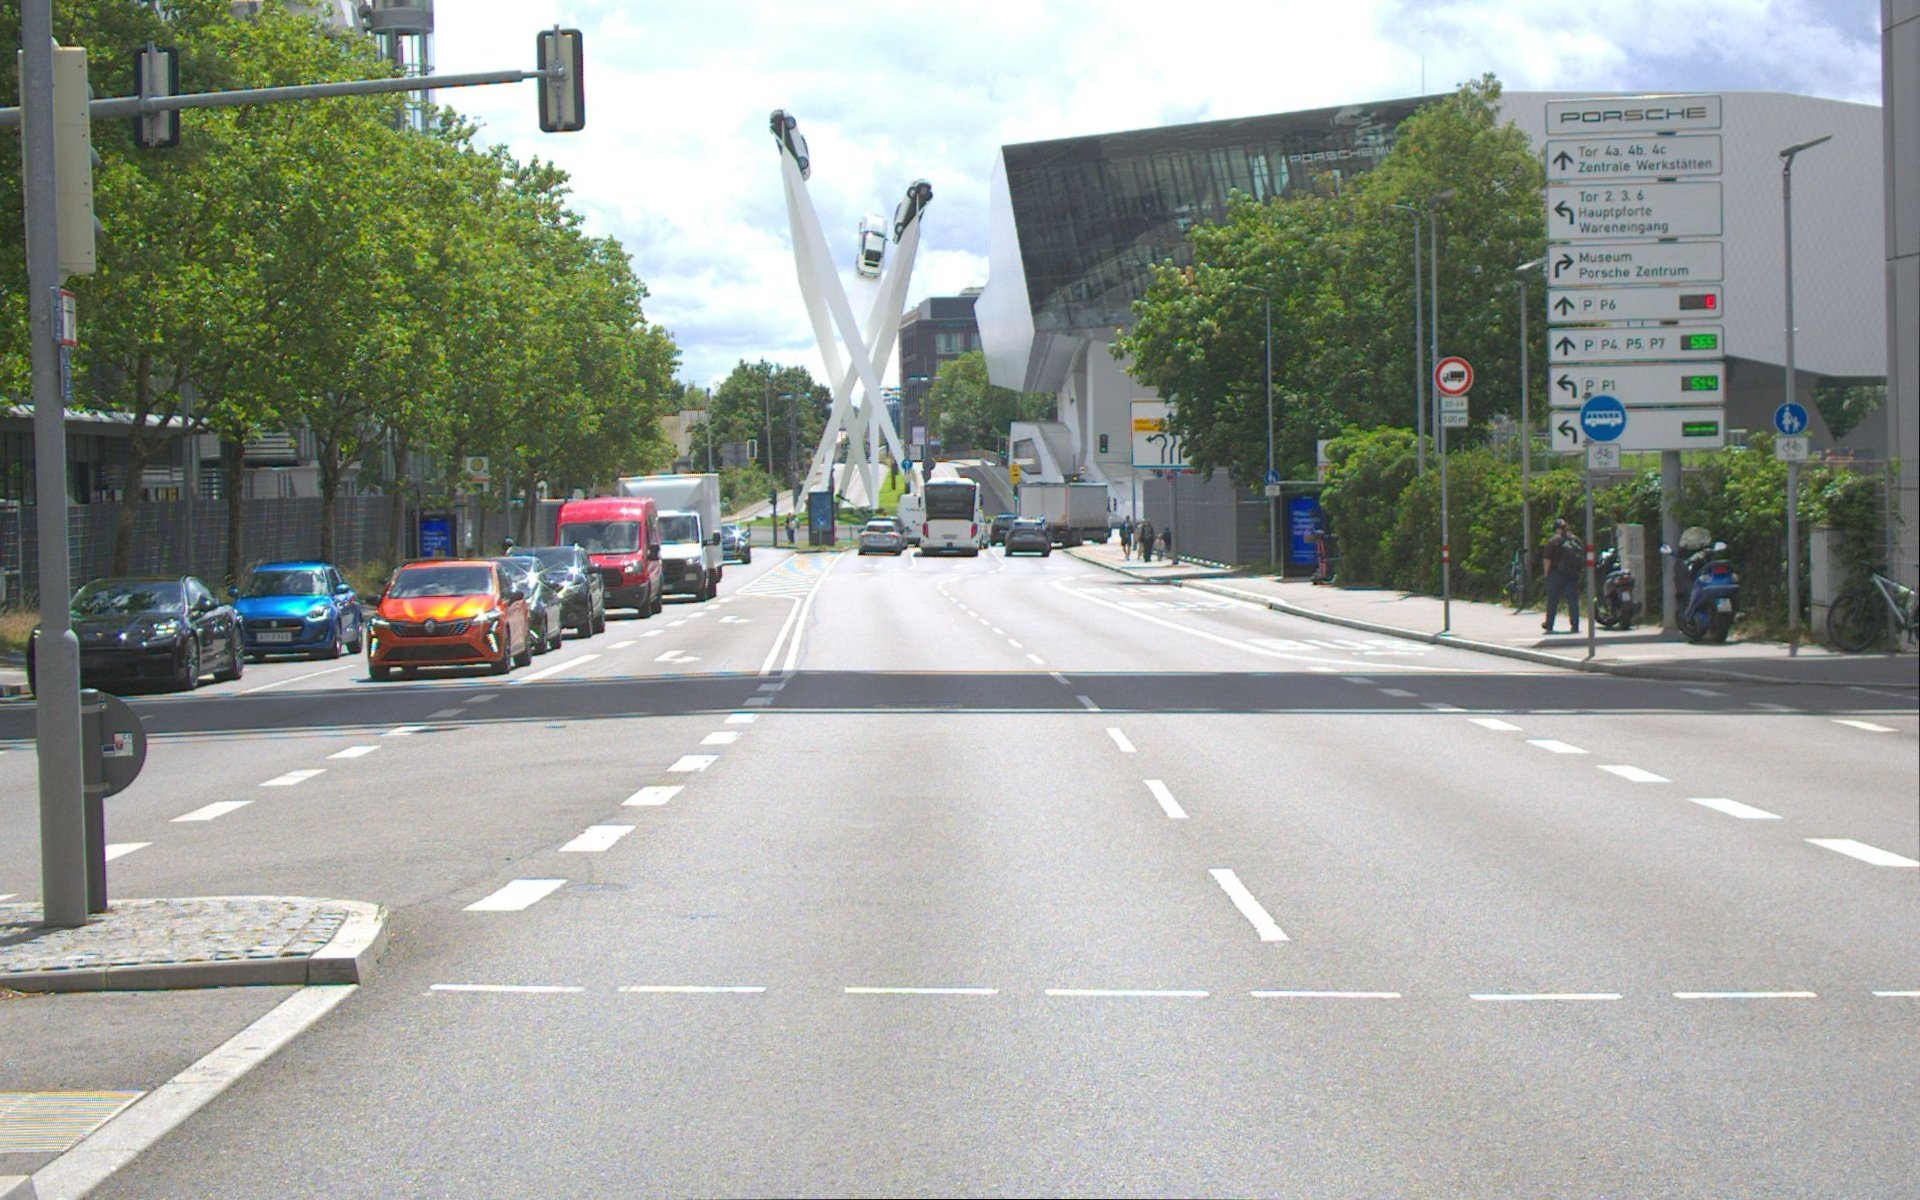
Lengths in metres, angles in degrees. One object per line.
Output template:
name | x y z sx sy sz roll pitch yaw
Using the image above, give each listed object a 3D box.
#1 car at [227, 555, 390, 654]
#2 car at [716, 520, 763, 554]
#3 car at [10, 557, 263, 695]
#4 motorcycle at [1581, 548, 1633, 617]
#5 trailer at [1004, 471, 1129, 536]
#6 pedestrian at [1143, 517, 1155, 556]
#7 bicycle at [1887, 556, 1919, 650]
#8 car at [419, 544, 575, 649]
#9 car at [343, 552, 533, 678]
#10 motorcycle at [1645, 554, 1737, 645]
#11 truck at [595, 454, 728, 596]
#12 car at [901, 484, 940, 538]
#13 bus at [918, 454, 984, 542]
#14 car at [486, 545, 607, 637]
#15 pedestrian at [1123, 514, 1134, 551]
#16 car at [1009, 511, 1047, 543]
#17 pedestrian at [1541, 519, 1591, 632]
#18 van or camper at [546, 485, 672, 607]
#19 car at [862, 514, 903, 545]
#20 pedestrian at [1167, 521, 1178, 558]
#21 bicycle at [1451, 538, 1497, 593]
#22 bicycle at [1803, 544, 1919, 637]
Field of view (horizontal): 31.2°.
car | -10.010 0.043 53.044 1.727 1.378 3.701 -3 1 0
car | -8.699 -2.505 135.988 1.557 1.269 3.701 -3 1 0
car | -10.136 0.273 42.673 1.917 1.483 4.772 -3 1 0
motorcycle | 9.770 -0.270 51.967 0.457 1.019 1.912 1 0 1
trailer | 5.408 -4.808 172.356 3.322 2.984 10.366 1 1 19
pedestrian | 7.007 -2.342 127.330 0.386 1.416 0.423 1 0 0
bicycle | 11.800 0.044 39.404 2.222 1.083 0.476 1 0 35
car | -6.896 -0.077 51.537 1.769 1.415 3.701 -3 1 0
car | -6.555 0.155 43.516 1.769 1.415 3.701 -3 1 0
motorcycle | 9.549 -0.011 44.984 0.418 1.162 1.957 1 0 -11
truck | -7.308 -1.804 84.950 2.591 3.312 7.079 1 0 0
car | -1.974 -4.482 173.537 1.843 2.614 4.000 1 0 1
bus | -0.374 -4.422 150.131 2.787 3.673 6.943 1 0 0
car | -7.119 -0.180 59.442 1.557 1.443 3.773 -3 1 0
pedestrian | 6.431 -2.580 131.356 0.386 1.416 0.423 1 0 0
car | 2.880 -3.125 146.579 1.557 1.269 3.701 -3 1 1
pedestrian | 8.868 -0.356 50.313 0.533 1.635 0.658 1 0 -6
van or camper | -7.315 -1.155 72.068 2.047 2.458 5.595 0 1 0
car | -3.351 -3.036 148.493 1.557 1.269 3.701 -3 1 1
pedestrian | 8.134 -2.330 131.802 0.386 1.416 0.423 1 0 0
bicycle | 9.745 -0.653 65.225 0.418 1.019 1.913 1 0 -5
bicycle | 11.174 -0.114 40.829 2.222 1.083 0.476 1 0 35
